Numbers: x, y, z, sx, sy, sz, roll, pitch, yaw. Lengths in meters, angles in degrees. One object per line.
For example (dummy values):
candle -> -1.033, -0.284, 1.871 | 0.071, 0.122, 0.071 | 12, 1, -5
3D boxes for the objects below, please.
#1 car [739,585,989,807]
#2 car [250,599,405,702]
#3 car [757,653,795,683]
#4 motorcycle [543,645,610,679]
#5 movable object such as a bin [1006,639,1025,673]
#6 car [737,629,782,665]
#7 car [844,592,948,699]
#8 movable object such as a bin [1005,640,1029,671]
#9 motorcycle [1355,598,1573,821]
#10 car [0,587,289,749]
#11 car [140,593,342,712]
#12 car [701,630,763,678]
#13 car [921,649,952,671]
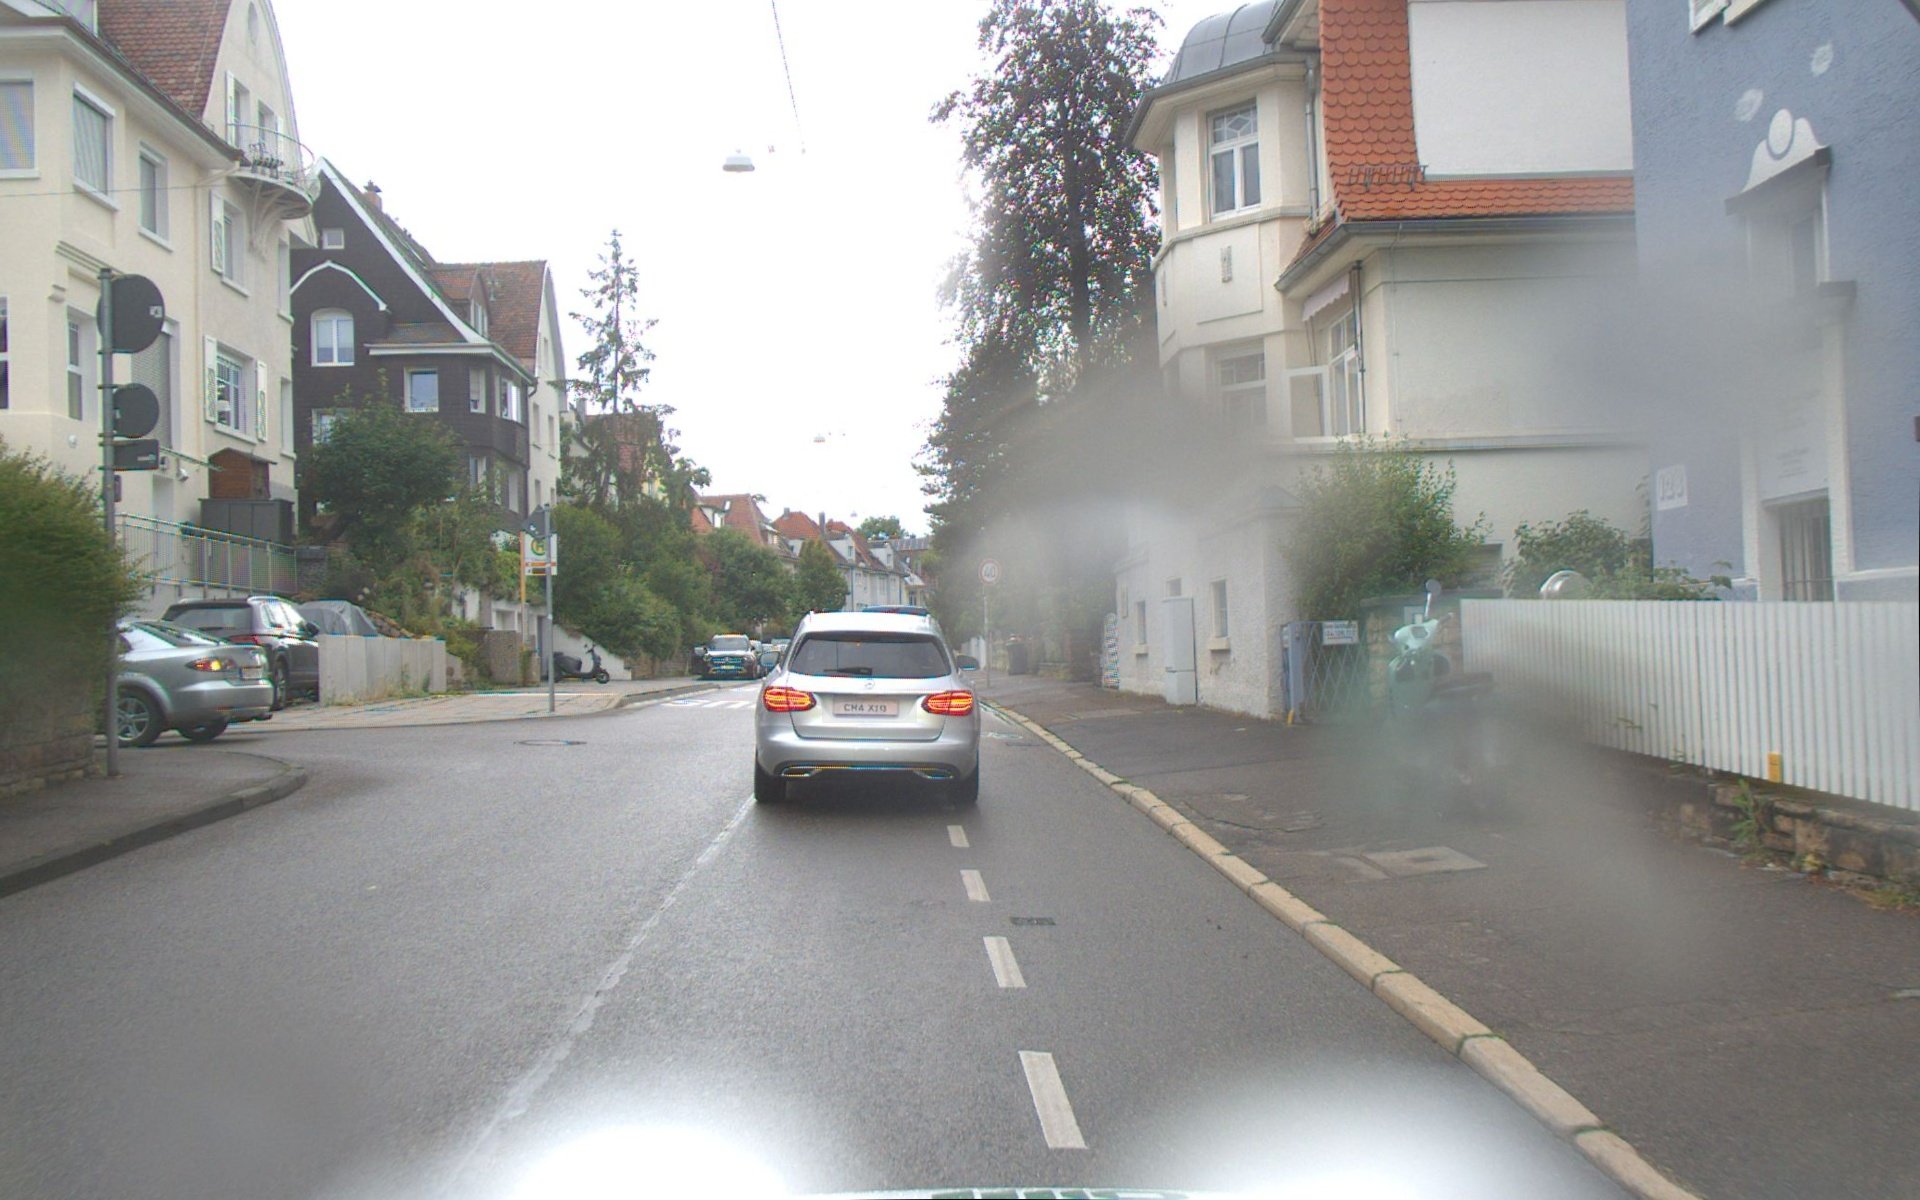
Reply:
car -> -0.766, 0.698, 13.819 | 1.780, 1.584, 3.998 | 0, 0, -3
car -> -11.497, 0.873, 30.317 | 1.732, 1.726, 3.994 | -1, 0, -7
car -> -9.543, 3.527, 85.904 | 1.660, 1.472, 3.811 | -1, -2, -2
motorcycle -> -10.951, 1.762, 47.254 | 1.758, 0.919, 0.603 | 1, -2, -4
movable object such as a bin -> 1.646, 1.655, 48.953 | 0.484, 0.972, 0.502 | -1, -1, -5
car -> -8.930, 2.080, 73.932 | 1.721, 1.472, 4.413 | -1, 0, -3
car -> -1.179, 0.920, 32.134 | 1.805, 1.937, 3.999 | 0, -3, 1
movable object such as a bin -> 1.660, 1.626, 48.349 | 0.638, 0.870, 0.502 | -1, -1, -5
motorcycle -> 3.247, 0.654, 10.893 | 0.679, 1.246, 2.153 | -7, 0, 1
car -> -9.753, 0.685, 17.868 | 4.287, 1.584, 1.817 | 2, -1, -11
car -> -10.826, 0.749, 25.206 | 1.732, 1.646, 3.994 | -1, 0, -7
car -> -8.151, 1.930, 59.419 | 1.856, 1.651, 4.375 | 0, -2, -3
car -> -2.261, 5.909, 162.383 | 1.790, 2.092, 5.012 | -1, -3, 14
